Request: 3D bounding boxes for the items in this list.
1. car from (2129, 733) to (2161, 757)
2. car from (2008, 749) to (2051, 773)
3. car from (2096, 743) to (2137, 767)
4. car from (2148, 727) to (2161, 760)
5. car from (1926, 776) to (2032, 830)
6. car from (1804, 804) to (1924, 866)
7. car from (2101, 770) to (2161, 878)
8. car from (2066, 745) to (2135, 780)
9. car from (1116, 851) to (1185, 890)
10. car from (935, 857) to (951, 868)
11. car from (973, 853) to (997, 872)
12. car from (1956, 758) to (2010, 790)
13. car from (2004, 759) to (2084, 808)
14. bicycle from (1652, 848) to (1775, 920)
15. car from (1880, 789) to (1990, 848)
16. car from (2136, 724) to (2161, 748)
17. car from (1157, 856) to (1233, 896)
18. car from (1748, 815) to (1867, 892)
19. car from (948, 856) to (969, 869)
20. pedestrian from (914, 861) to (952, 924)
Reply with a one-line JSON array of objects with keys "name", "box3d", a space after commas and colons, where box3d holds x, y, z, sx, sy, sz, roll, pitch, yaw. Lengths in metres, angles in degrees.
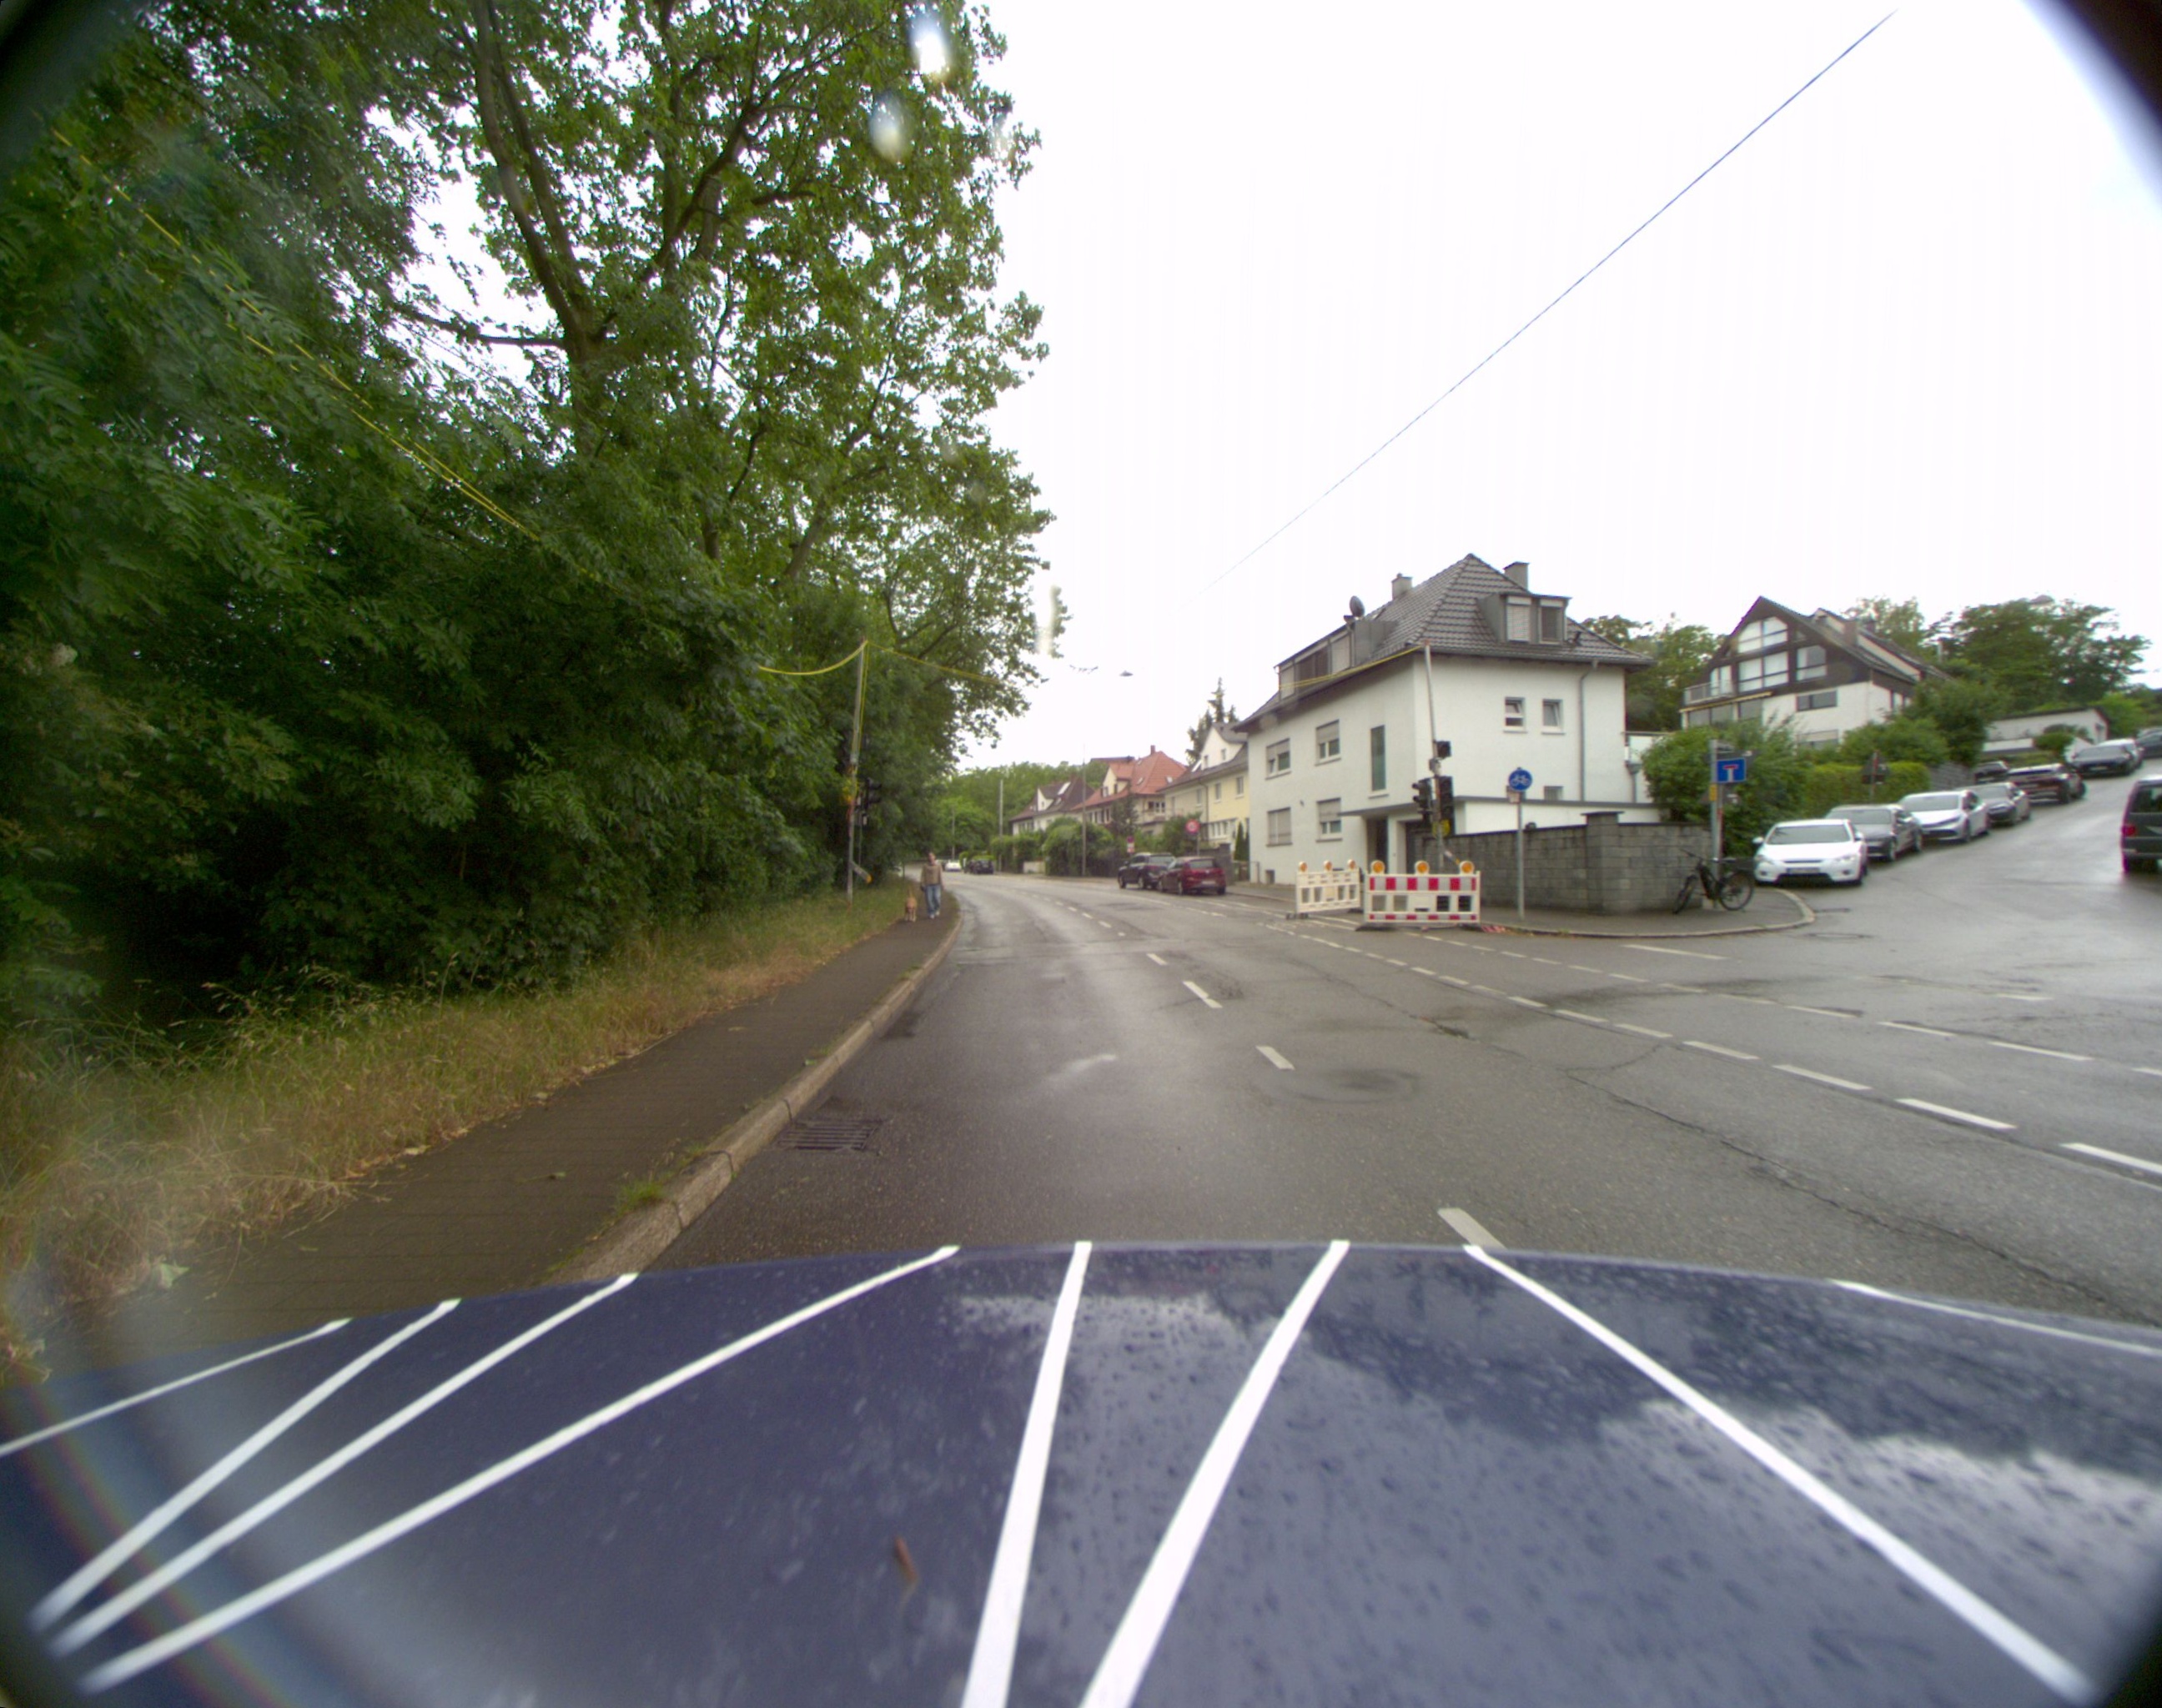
[{"name": "car", "box3d": [68.329, -6.942, 47.701, 1.286, 1.310, 2.945, -3, 1, -36]}, {"name": "car", "box3d": [57.243, -5.643, 45.869, 3.656, 1.205, 1.577, -7, 3, -38]}, {"name": "car", "box3d": [59.841, -5.746, 43.901, 2.988, 1.191, 1.305, -6, 3, -35]}, {"name": "car", "box3d": [72.469, -7.452, 48.985, 2.003, 2.000, 3.993, -2, -4, -32]}, {"name": "car", "box3d": [32.331, -1.836, 27.338, 4.111, 1.430, 1.921, -9, 4, -33]}, {"name": "car", "box3d": [22.467, -0.562, 21.763, 3.910, 1.380, 1.719, -7, 3, -34]}, {"name": "car", "box3d": [23.886, -0.756, 16.265, 4.497, 2.003, 1.996, -7, 3, -31]}, {"name": "car", "box3d": [54.819, -4.884, 40.844, 4.034, 1.511, 1.786, -2, 0, -31]}, {"name": "car", "box3d": [3.134, 0.729, 35.038, 1.798, 1.630, 4.150, -1, 0, -15]}, {"name": "car", "box3d": [-18.736, 1.133, 103.017, 1.691, 1.419, 3.770, -2, 0, -17]}, {"name": "car", "box3d": [-9.603, 0.842, 75.961, 1.882, 1.814, 4.121, -2, 0, -14]}, {"name": "car", "box3d": [52.872, -4.653, 44.520, 4.020, 1.545, 1.812, -3, 1, -37]}, {"name": "car", "box3d": [40.723, -2.988, 32.116, 4.004, 1.617, 1.638, -8, 4, -32]}, {"name": "bicycle", "box3d": [11.591, 0.532, 13.940, 2.006, 1.232, 0.510, -2, 3, -8]}, {"name": "car", "box3d": [27.273, -1.157, 24.235, 3.951, 1.462, 1.755, -7, 3, -33]}, {"name": "car", "box3d": [81.123, -8.872, 55.962, 1.754, 1.508, 3.961, -3, 1, -35]}, {"name": "car", "box3d": [4.386, 0.814, 29.910, 1.787, 1.423, 3.844, -2, 0, -10]}, {"name": "car", "box3d": [17.780, -0.053, 18.541, 4.126, 1.455, 1.849, -7, 4, -43]}, {"name": "car", "box3d": [-15.229, 1.072, 94.182, 2.071, 1.477, 4.556, -2, 0, -16]}, {"name": "pedestrian", "box3d": [-3.590, 0.919, 18.503, 0.735, 1.490, 0.785, -1, 1, -1]}]
